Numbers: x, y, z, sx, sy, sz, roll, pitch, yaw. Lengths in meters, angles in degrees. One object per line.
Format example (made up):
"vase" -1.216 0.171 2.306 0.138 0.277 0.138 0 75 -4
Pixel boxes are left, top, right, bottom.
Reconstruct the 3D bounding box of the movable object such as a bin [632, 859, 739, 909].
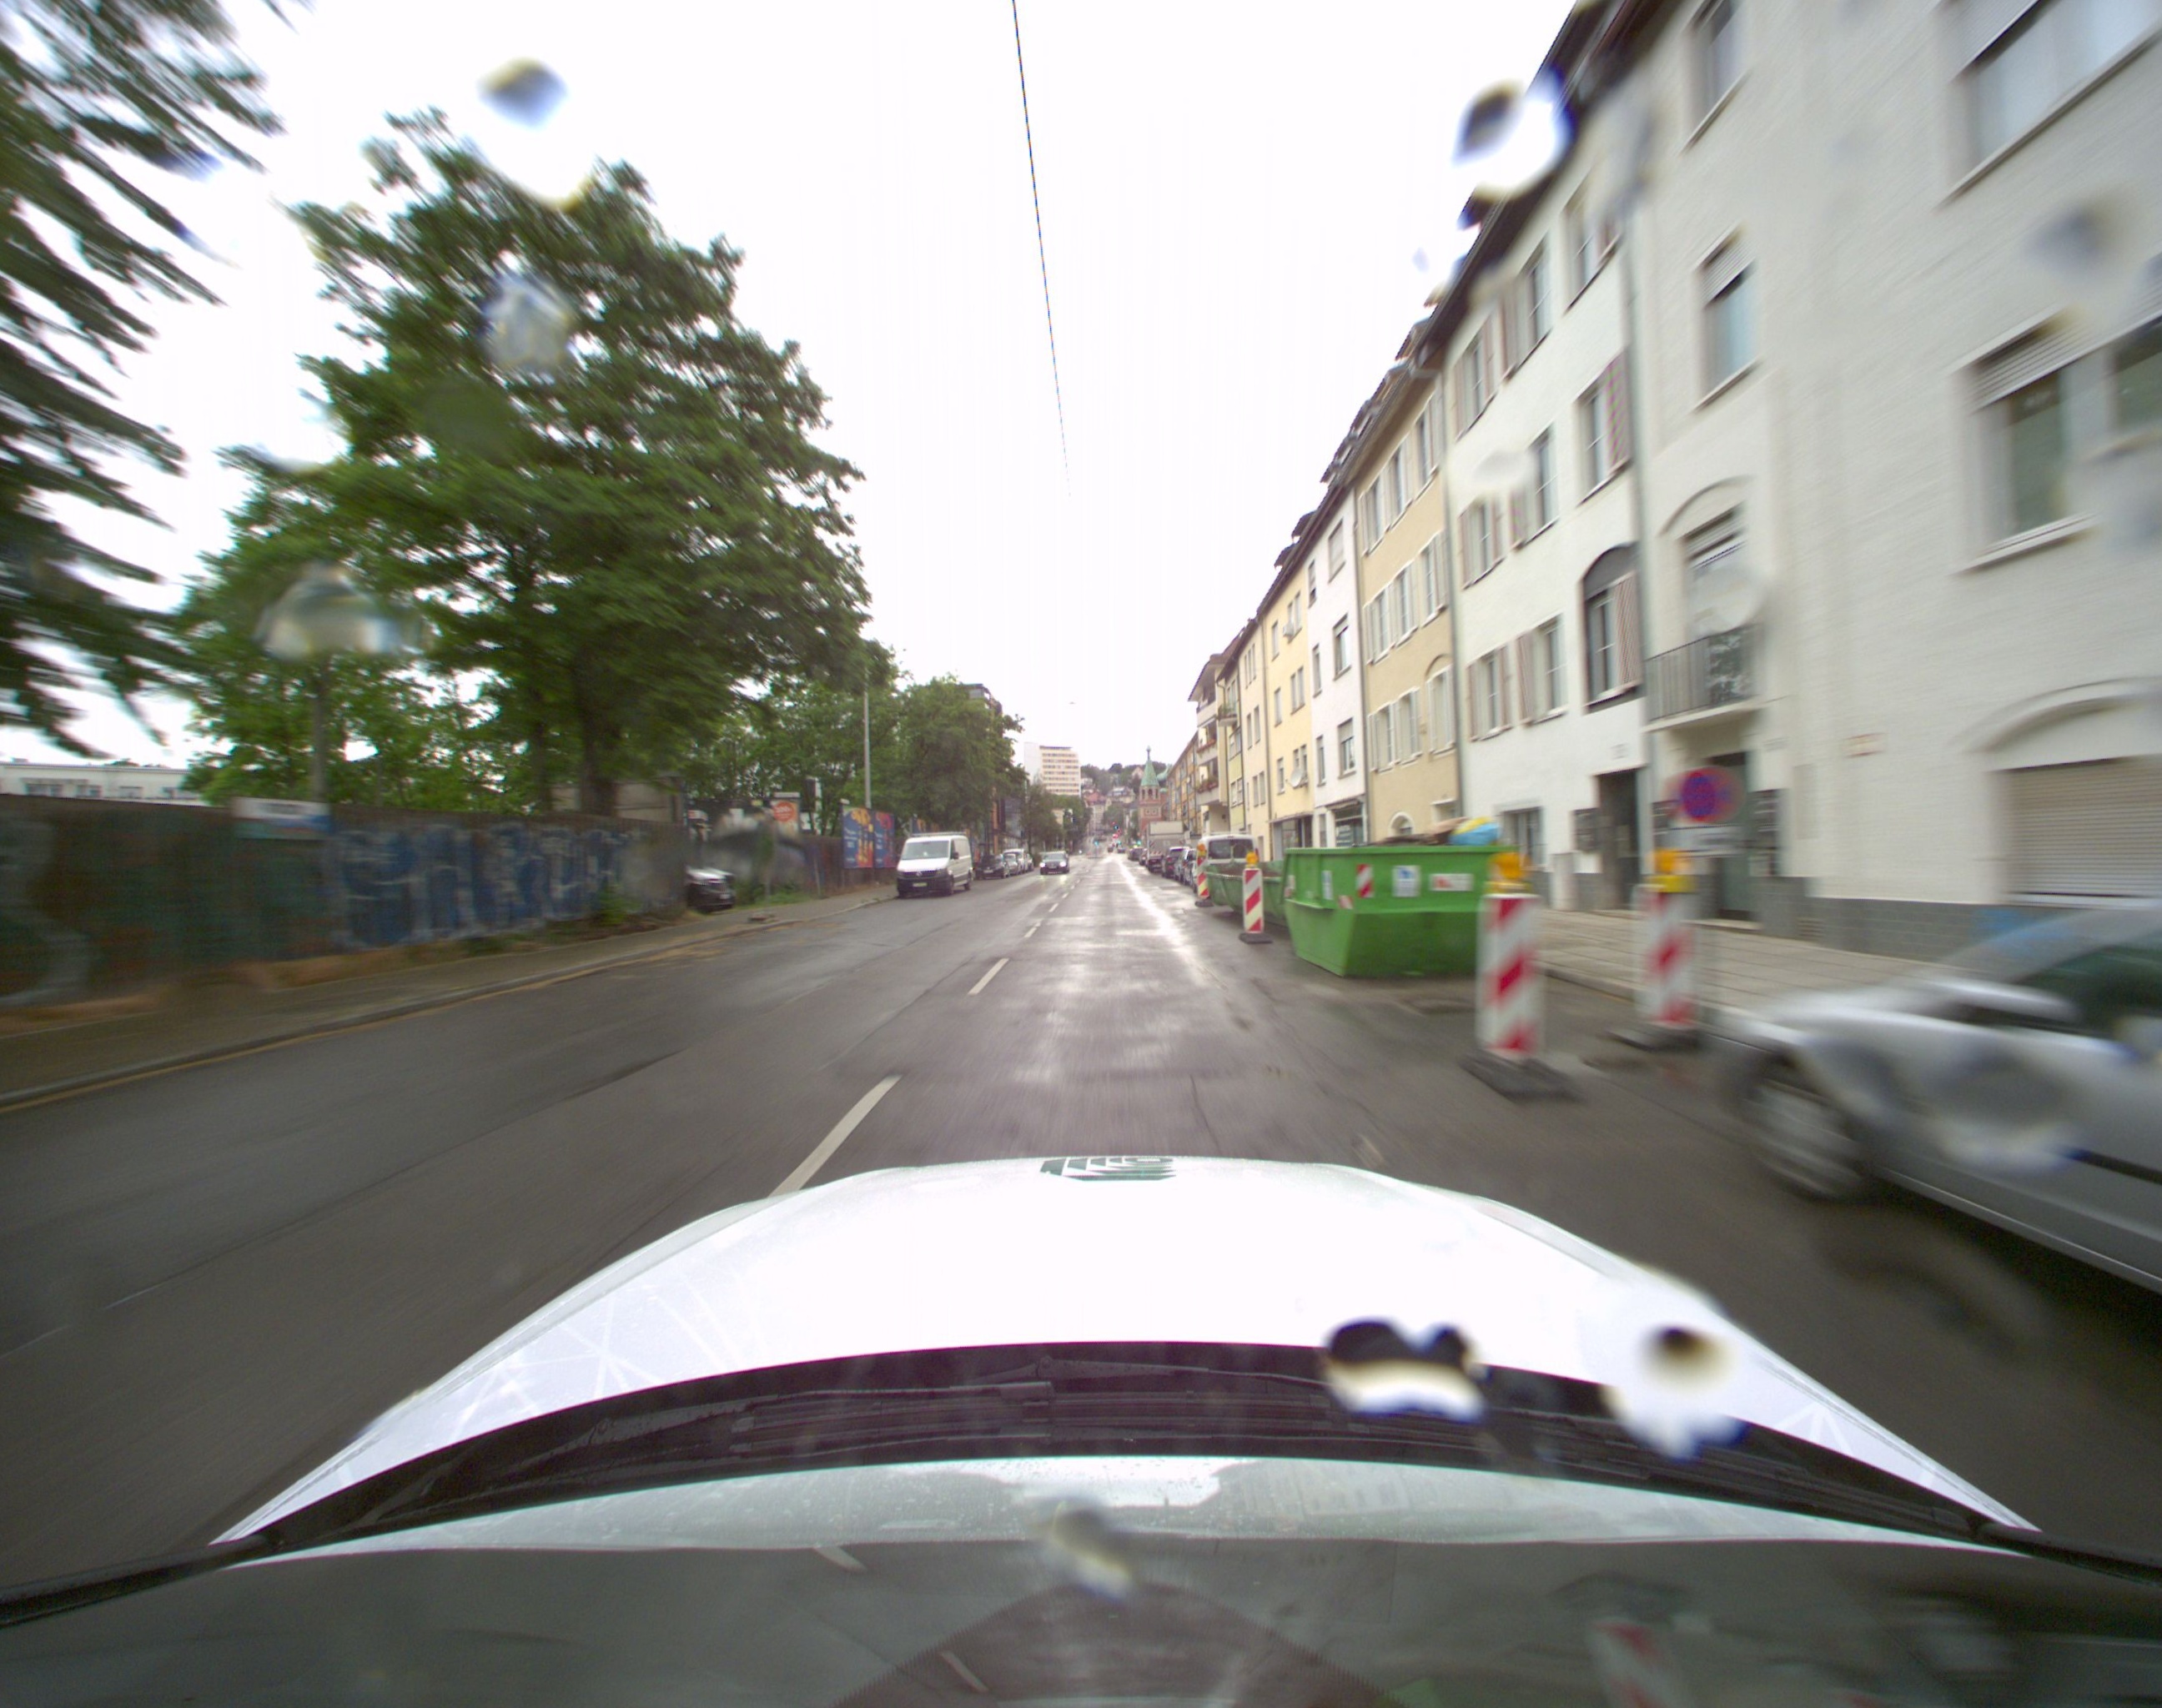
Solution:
"movable object such as a bin" -12.631 0.935 26.176 2.696 1.424 1.669 -3 0 -12

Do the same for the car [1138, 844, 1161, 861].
"car" 6.089 -0.114 72.587 1.658 1.502 3.921 -2 -1 1

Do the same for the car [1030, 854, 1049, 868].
"car" -4.528 0.756 88.729 1.797 1.450 4.657 -3 -1 0

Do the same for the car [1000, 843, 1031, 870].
"car" -4.738 0.223 59.409 1.717 1.800 4.345 -3 -1 1

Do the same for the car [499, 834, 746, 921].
"car" -12.488 0.623 22.483 5.482 2.009 2.146 -3 0 -1

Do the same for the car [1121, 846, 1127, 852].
"car" 12.260 -1.349 232.803 1.724 1.653 4.006 -2 0 5

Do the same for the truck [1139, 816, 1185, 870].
"truck" 5.123 -0.653 52.347 2.460 3.172 7.040 -2 0 2

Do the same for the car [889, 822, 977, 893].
"car" -5.734 0.118 32.453 2.004 2.487 5.987 -3 0 3

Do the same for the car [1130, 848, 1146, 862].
"car" 6.839 0.120 97.945 1.811 1.652 4.077 0 0 2

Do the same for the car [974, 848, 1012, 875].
"car" -5.106 0.440 47.564 1.676 1.398 3.911 -3 -1 1

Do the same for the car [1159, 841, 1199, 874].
"car" 5.044 0.148 42.201 1.657 1.573 4.099 -2 0 2

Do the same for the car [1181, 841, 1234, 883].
"car" 4.807 0.301 31.334 1.571 1.470 3.503 -2 0 2

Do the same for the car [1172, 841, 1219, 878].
"car" 5.108 0.236 36.810 1.657 1.500 4.099 -2 0 2

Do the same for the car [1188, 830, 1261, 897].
"car" 4.484 0.278 26.001 1.810 1.924 4.243 -2 0 4

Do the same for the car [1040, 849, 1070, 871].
"car" -1.727 0.414 55.462 1.799 1.415 4.384 -2 0 0

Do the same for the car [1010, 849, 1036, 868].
"car" -4.542 0.346 64.536 1.718 1.375 4.342 -3 -1 -1

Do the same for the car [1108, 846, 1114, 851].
"car" 9.613 -1.718 257.907 1.901 1.510 4.001 -1 0 2

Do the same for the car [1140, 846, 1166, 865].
"car" 5.794 0.136 66.205 1.659 1.421 3.919 -2 -1 -1

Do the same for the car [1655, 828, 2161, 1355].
"car" 3.703 0.628 2.271 1.620 1.411 3.844 -1 0 2

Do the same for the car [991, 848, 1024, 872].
"car" -4.844 0.437 54.403 1.676 1.462 4.277 -3 -1 1

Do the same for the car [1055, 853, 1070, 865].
"car" -2.385 0.636 104.360 1.704 1.450 4.295 -3 -1 1

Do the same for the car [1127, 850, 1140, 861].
"car" 7.419 0.224 115.333 1.811 1.522 4.077 0 0 2
